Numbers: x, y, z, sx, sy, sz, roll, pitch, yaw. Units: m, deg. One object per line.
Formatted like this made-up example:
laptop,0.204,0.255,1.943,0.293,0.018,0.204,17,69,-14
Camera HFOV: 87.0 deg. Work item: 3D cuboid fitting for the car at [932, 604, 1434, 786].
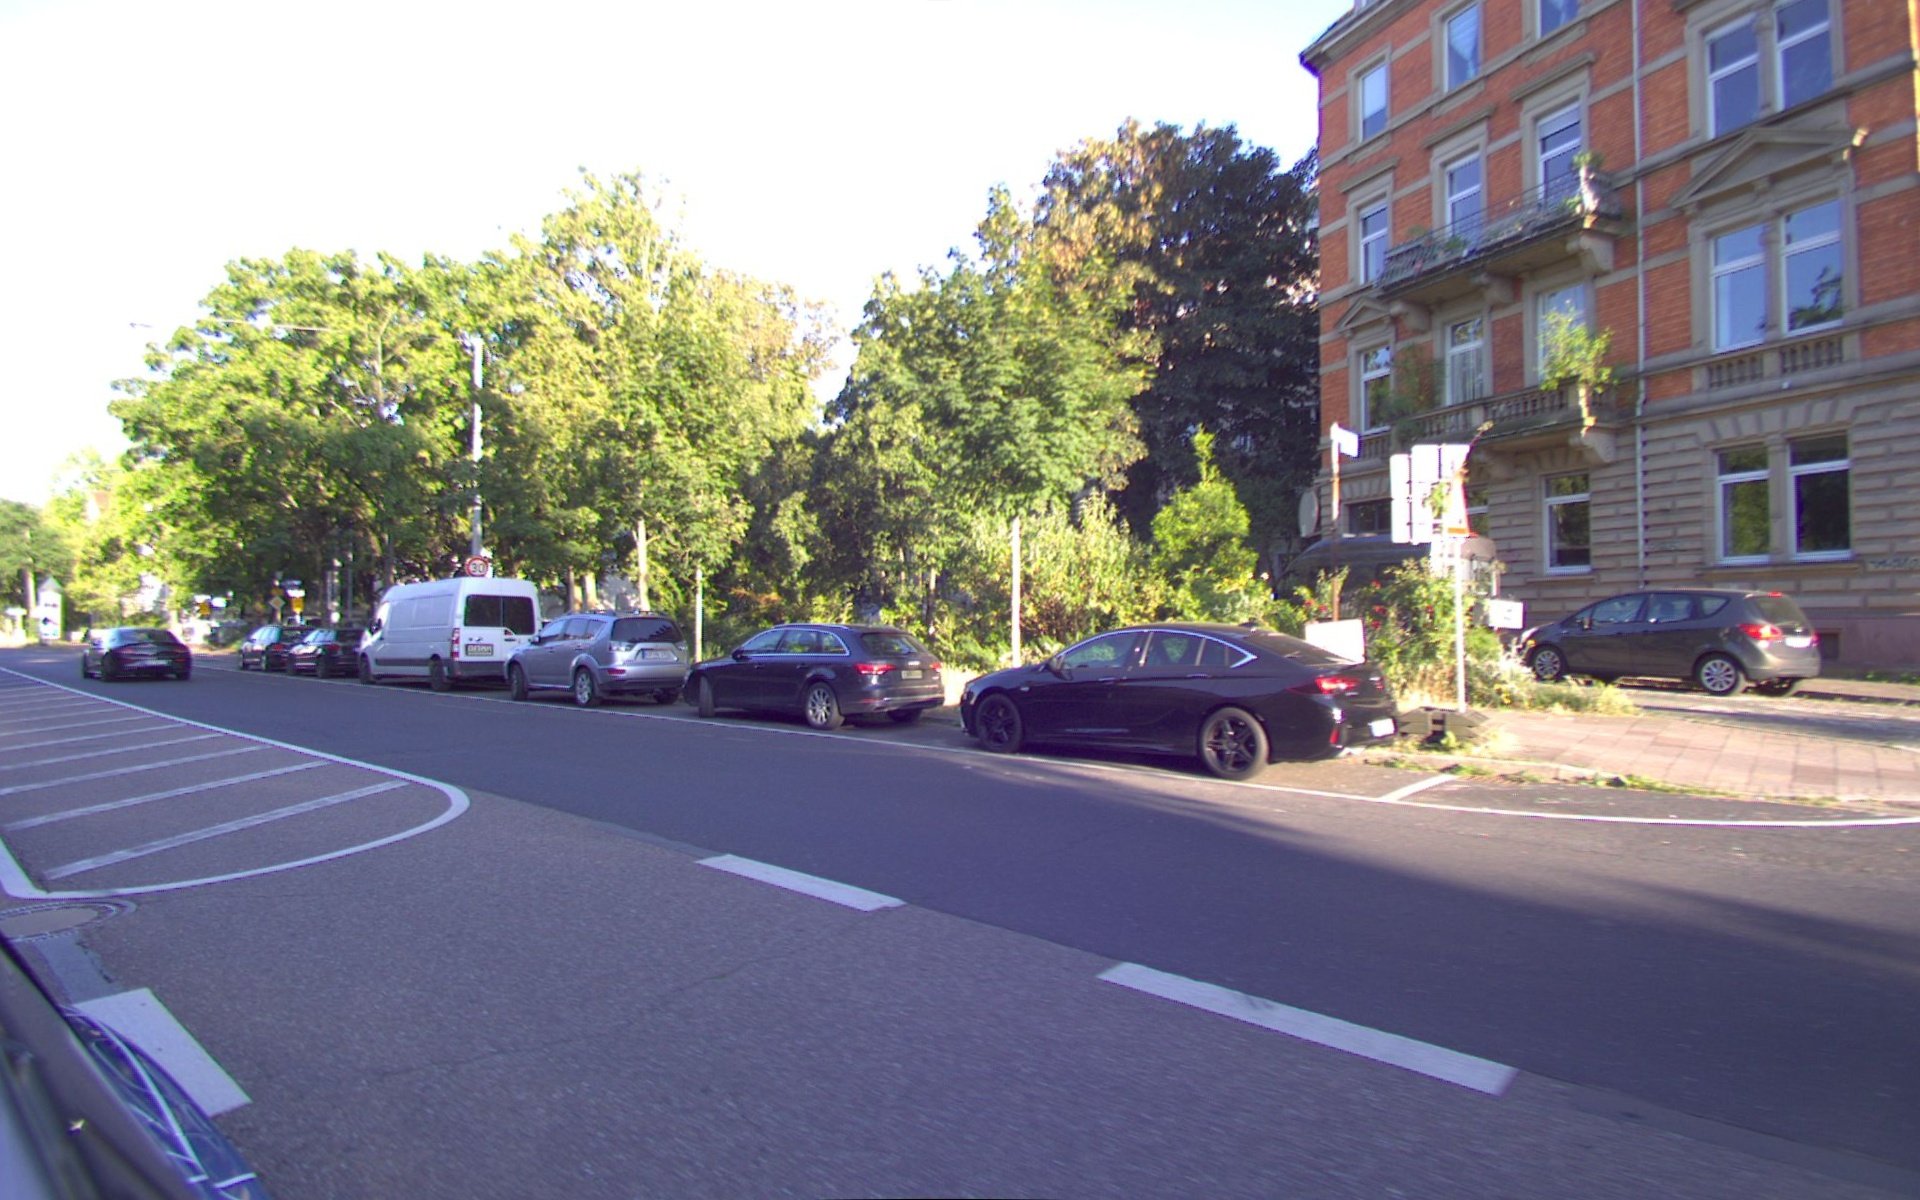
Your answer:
car,2.129,0.841,10.665,4.827,1.495,1.973,-2,-2,41

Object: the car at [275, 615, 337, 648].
car,-38.038,1.809,58.824,3.994,1.809,1.801,-2,-1,37

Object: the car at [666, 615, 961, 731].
car,-2.289,0.978,14.903,4.623,1.456,1.718,-2,-2,41

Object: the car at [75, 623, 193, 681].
car,-21.982,1.322,26.869,4.543,1.413,1.747,-2,-2,42

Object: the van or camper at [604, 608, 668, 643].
van or camper,-24.308,1.908,75.847,5.423,2.490,2.045,-2,-1,40

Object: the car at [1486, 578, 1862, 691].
car,11.229,0.549,16.361,1.965,1.549,4.577,1,-2,-25

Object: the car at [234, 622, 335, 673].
car,-21.753,1.490,32.516,4.542,1.518,1.606,-2,-2,42

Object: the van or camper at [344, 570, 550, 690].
van or camper,-12.216,0.728,23.858,6.302,2.487,2.069,-2,-3,41

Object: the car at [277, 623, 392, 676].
car,-18.123,1.409,29.269,4.240,1.440,1.611,-2,-3,41

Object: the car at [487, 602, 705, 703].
car,-6.870,0.936,18.858,4.569,1.657,1.846,-2,-3,41

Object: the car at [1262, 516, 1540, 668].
car,8.976,-0.045,21.269,2.090,2.760,5.327,1,-2,-23
